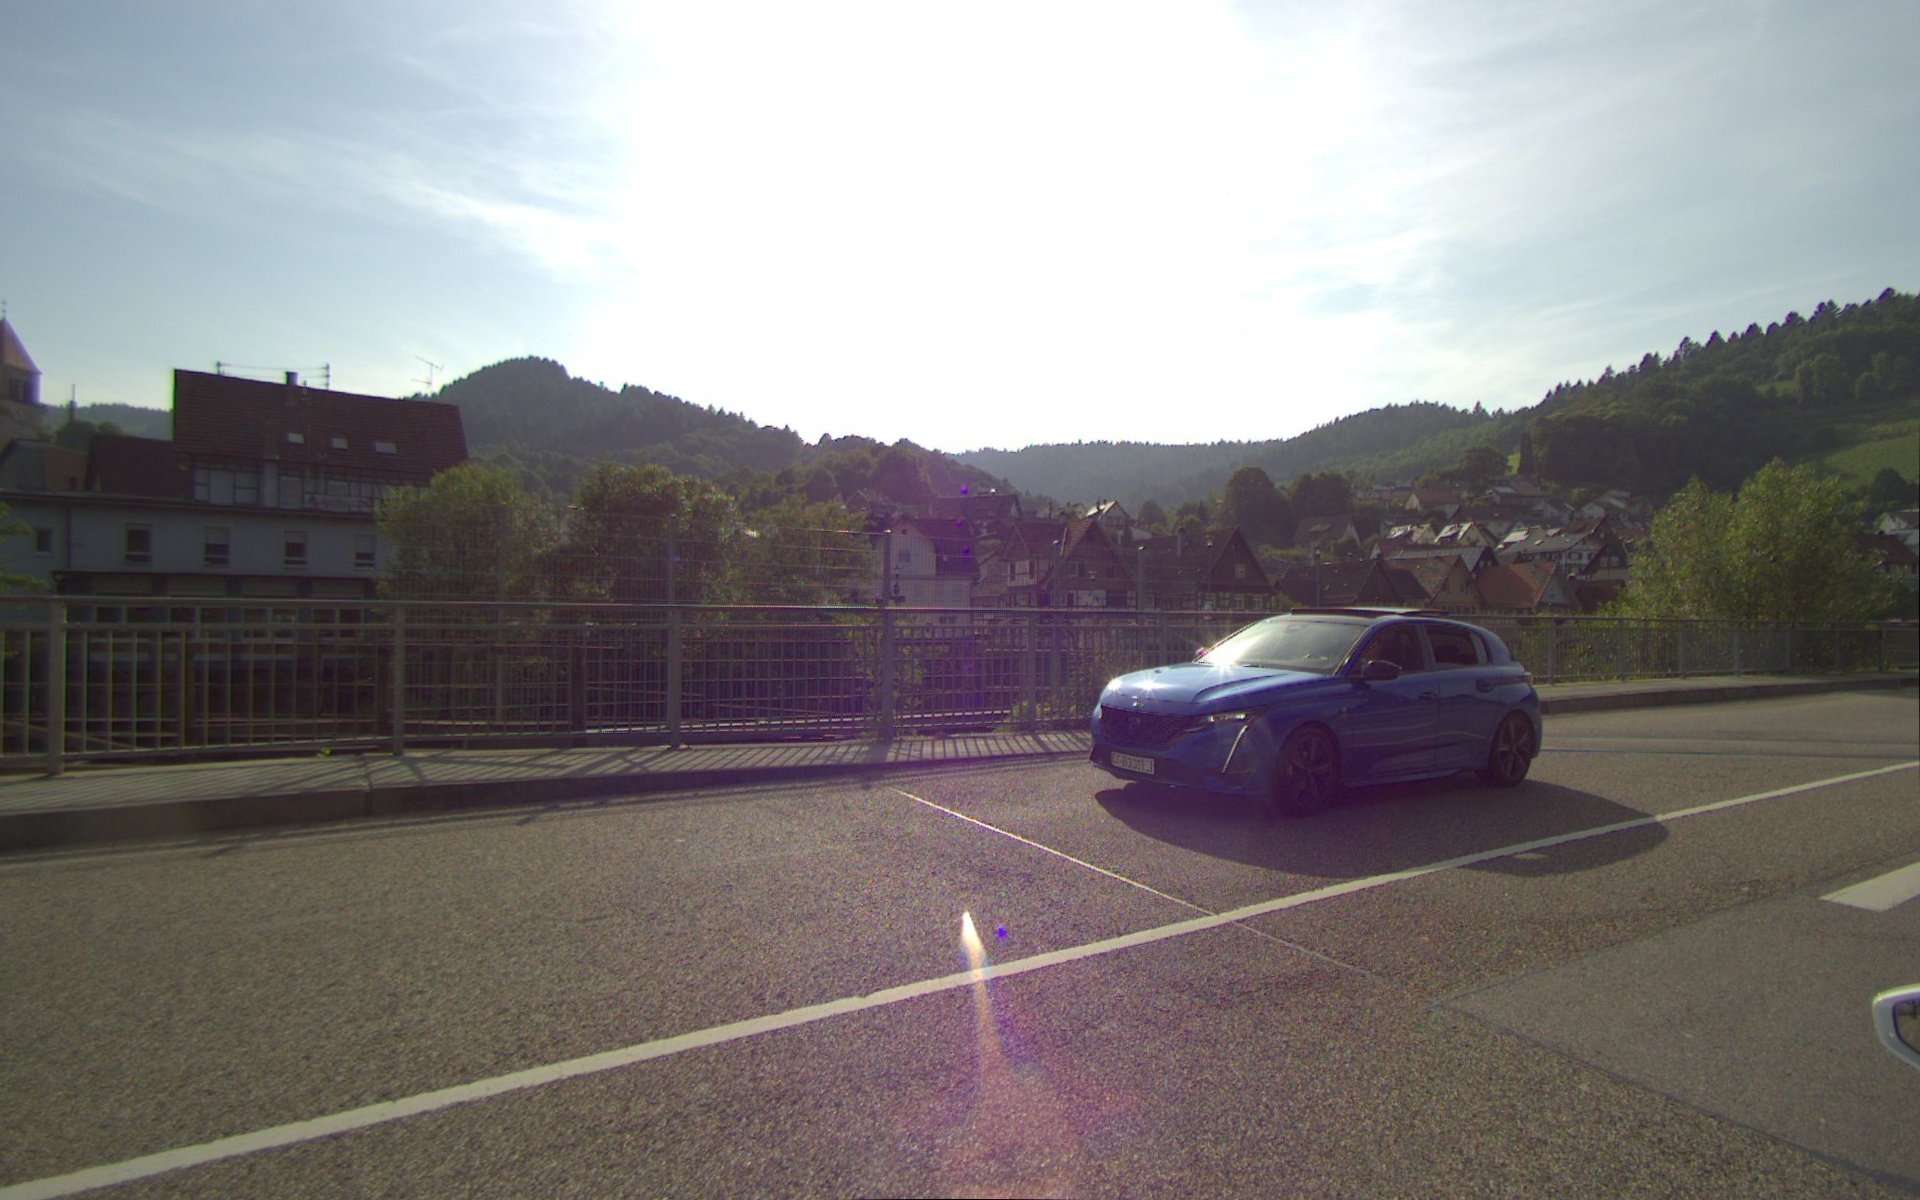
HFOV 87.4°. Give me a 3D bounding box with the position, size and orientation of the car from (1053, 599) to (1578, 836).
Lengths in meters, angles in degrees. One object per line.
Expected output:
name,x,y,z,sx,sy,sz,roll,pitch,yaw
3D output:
car,3.094,0.793,8.393,4.477,1.502,1.772,1,0,-33
